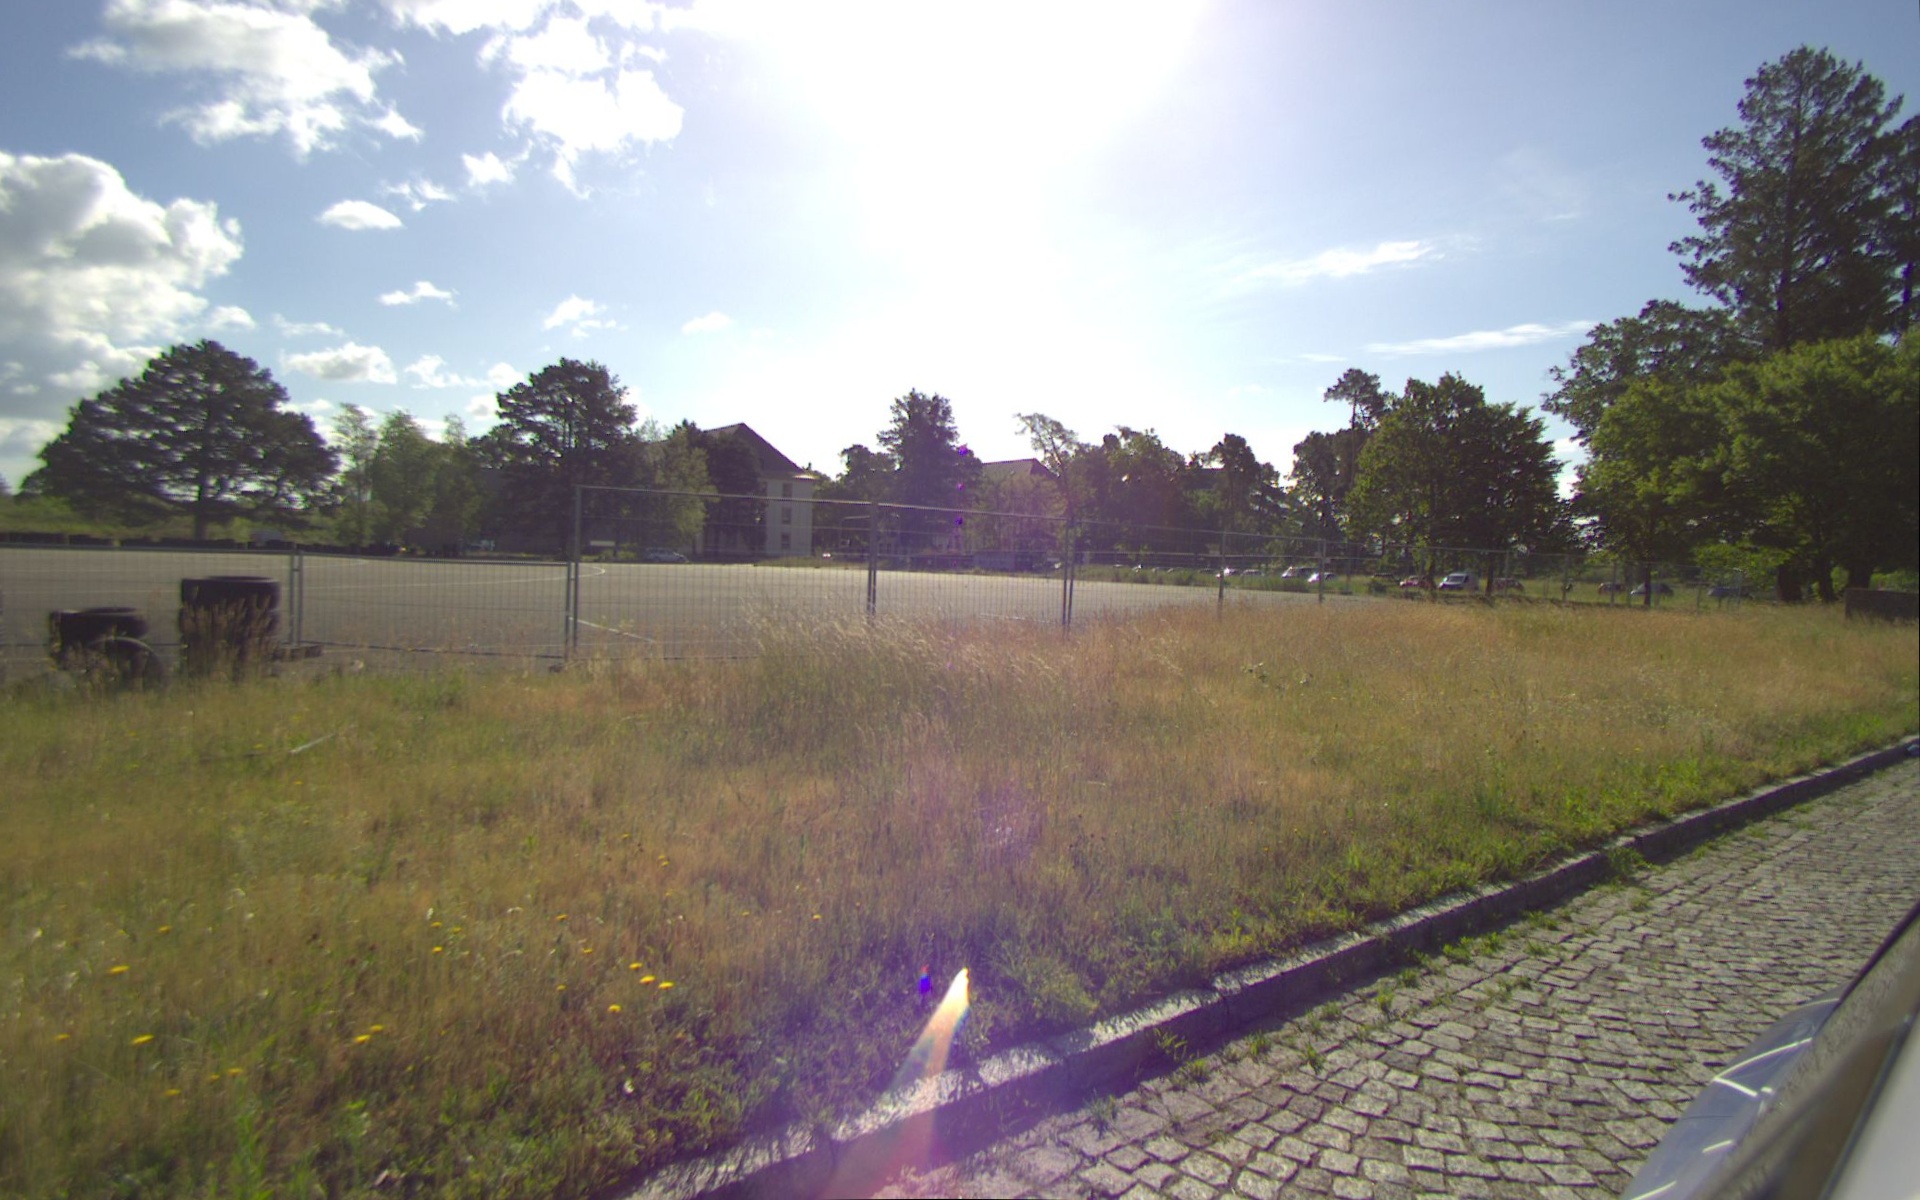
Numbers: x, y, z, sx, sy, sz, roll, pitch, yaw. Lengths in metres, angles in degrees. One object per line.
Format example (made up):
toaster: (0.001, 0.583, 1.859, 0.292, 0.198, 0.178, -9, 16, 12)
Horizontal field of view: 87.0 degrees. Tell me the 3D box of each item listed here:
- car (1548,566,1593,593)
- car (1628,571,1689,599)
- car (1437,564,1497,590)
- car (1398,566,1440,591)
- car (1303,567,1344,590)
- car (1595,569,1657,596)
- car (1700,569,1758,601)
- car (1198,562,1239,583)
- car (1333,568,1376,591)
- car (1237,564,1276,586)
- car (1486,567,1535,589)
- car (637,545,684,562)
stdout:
car: (47.159, -1.582, 78.164, 3.553, 2.038, 1.742, 0, 3, -38)
car: (50.036, -1.048, 72.471, 4.268, 1.861, 2.248, 0, 3, -37)
car: (42.305, -1.925, 84.389, 5.923, 2.038, 1.999, -2, 2, -37)
car: (39.462, -1.821, 86.967, 3.553, 2.038, 1.742, 0, 3, -38)
car: (33.789, -2.013, 93.978, 3.781, 2.038, 1.742, 0, 3, -38)
car: (49.270, -1.309, 74.854, 4.265, 1.861, 2.249, 0, 3, -33)
car: (52.385, -1.031, 68.877, 4.273, 2.038, 2.245, 0, 3, -41)
car: (26.612, -2.796, 104.100, 3.927, 2.038, 1.999, 0, 3, -38)
car: (36.244, -1.899, 92.989, 3.928, 2.038, 1.999, 0, 3, -39)
car: (29.402, -2.498, 100.399, 3.779, 2.038, 1.743, 0, 3, -36)
car: (44.013, -1.749, 80.935, 3.927, 1.671, 1.999, 0, 3, -38)
car: (-29.599, -4.613, 100.030, 3.931, 1.601, 1.998, -1, 3, -41)
